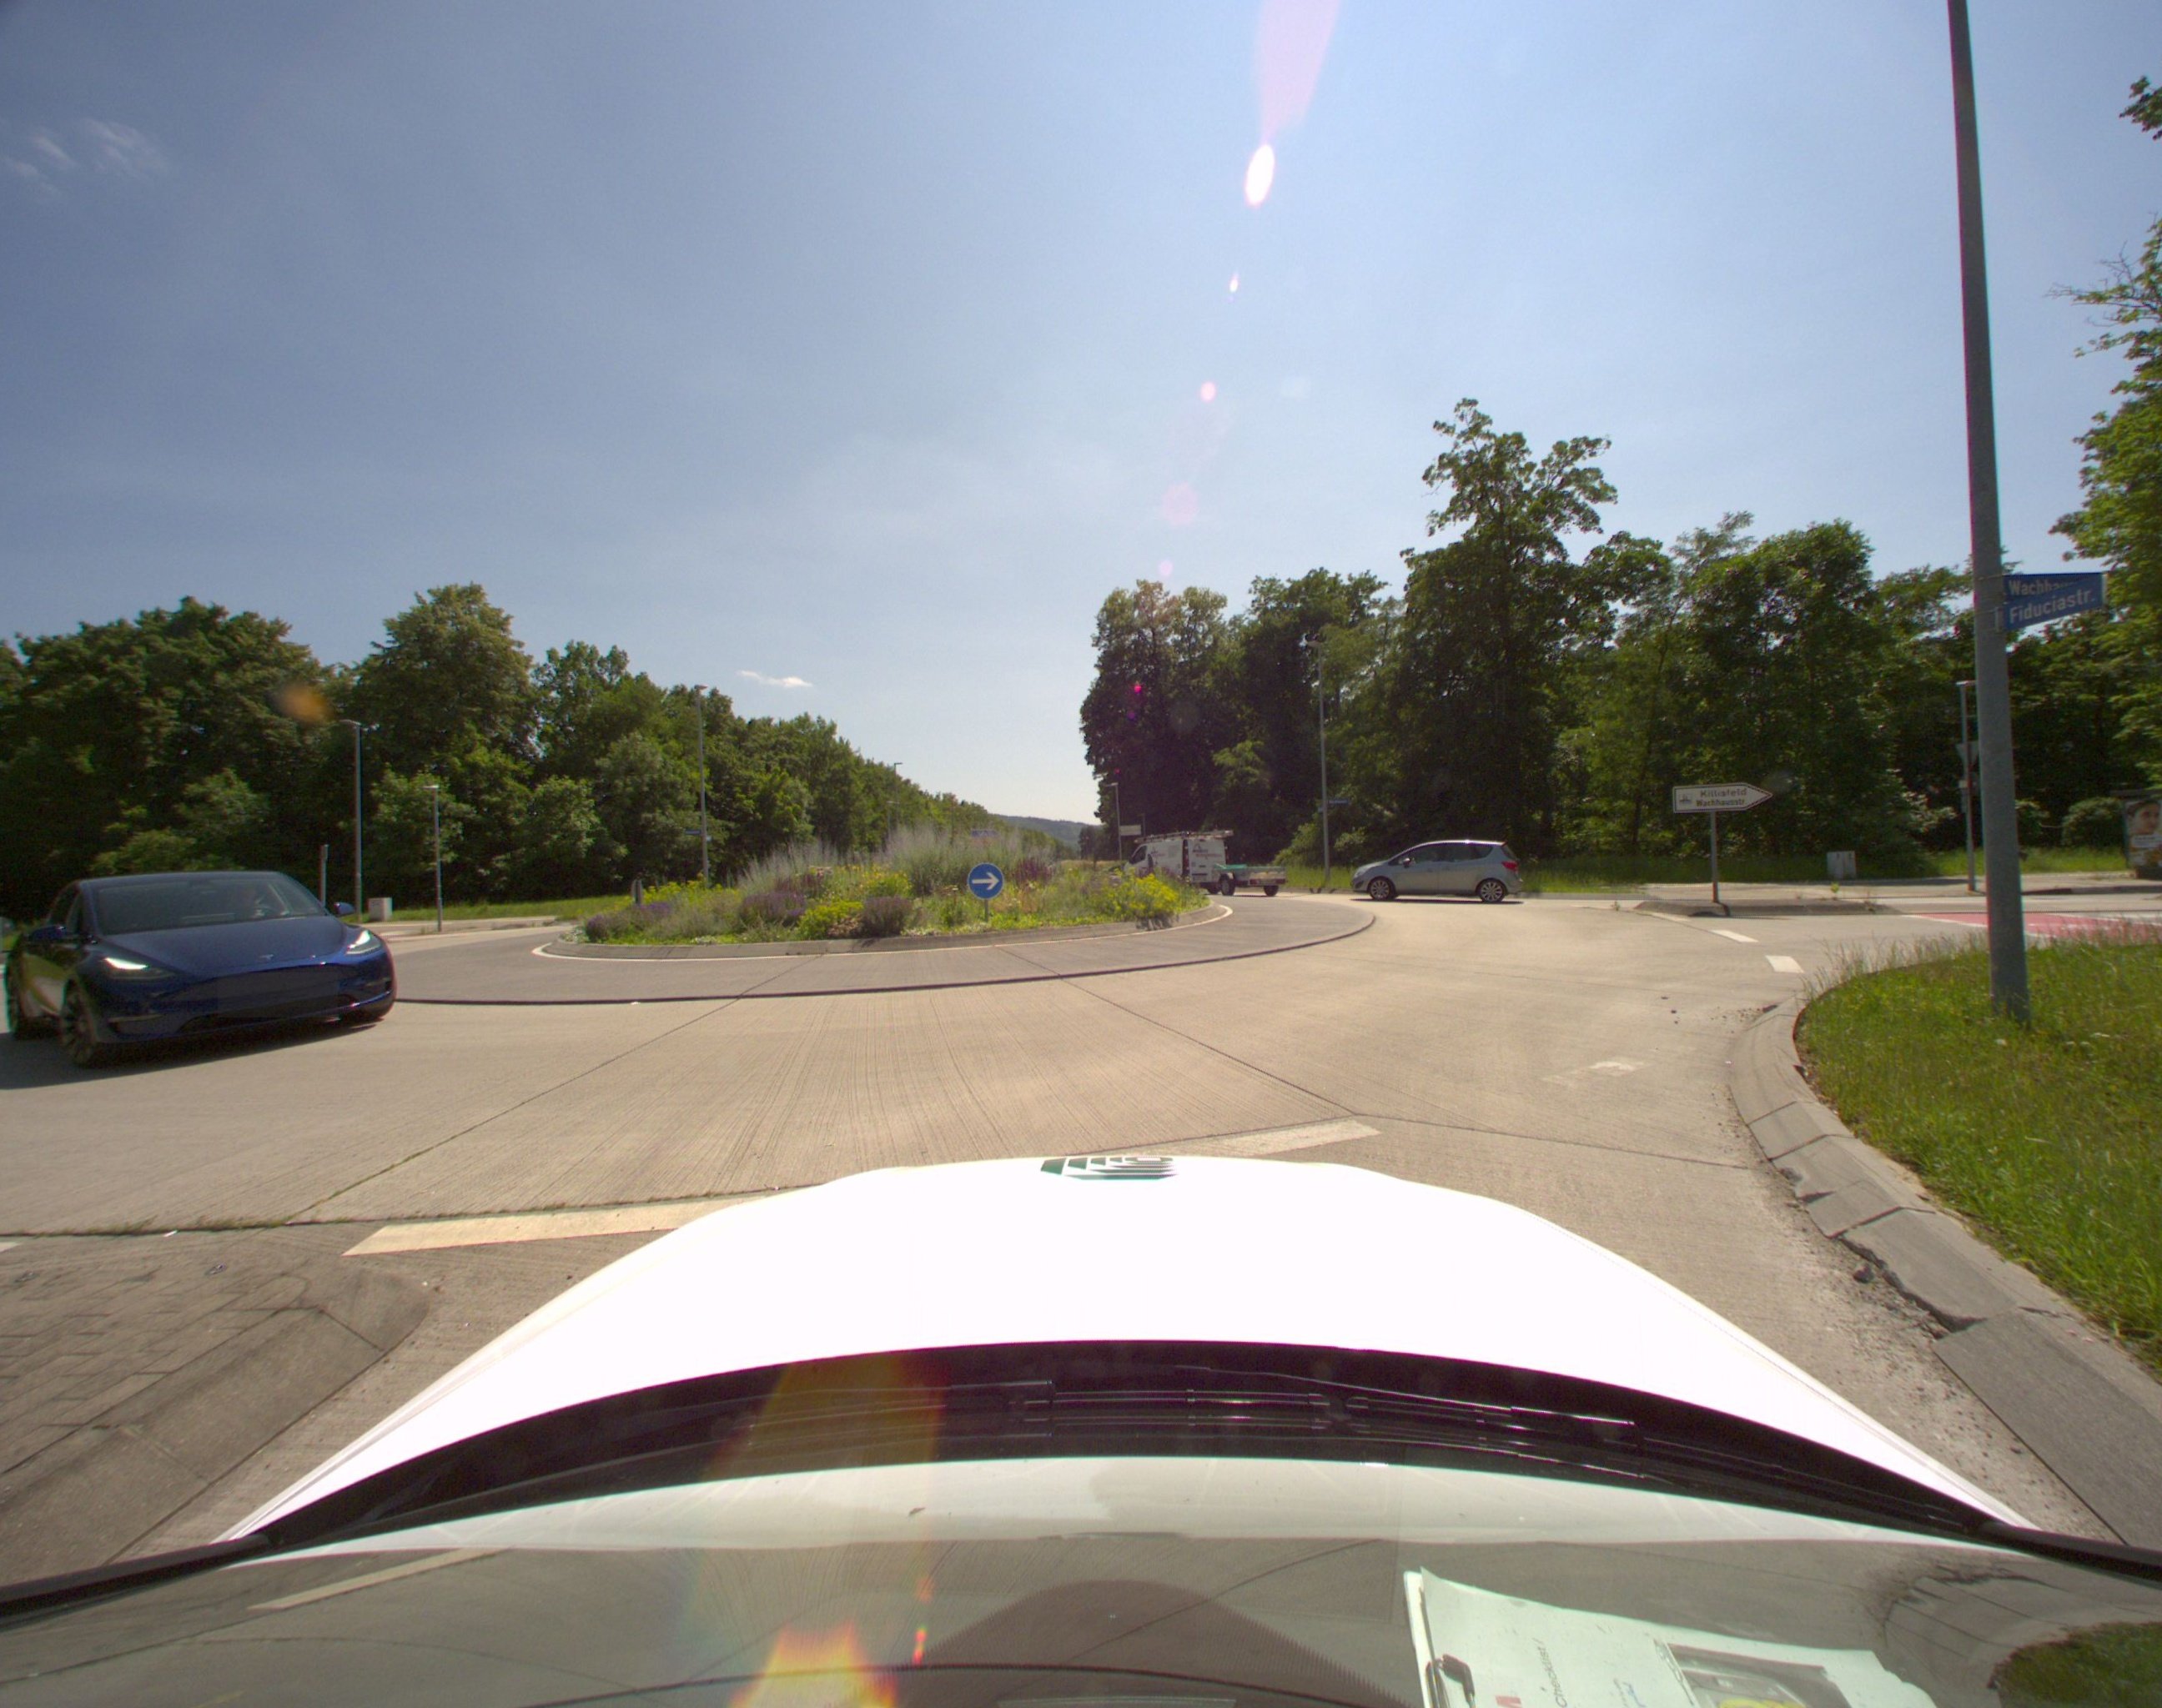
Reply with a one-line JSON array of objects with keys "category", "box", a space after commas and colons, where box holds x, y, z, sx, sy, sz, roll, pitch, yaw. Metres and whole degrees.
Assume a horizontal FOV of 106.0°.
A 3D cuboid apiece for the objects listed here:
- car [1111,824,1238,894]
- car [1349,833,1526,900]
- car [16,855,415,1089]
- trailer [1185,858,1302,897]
[{"category": "car", "box": [3.286, 0.205, 29.709, 2.178, 2.316, 4.936, -1, -1, -27]}, {"category": "car", "box": [9.365, 0.358, 21.456, 4.075, 1.607, 1.801, -2, -1, 29]}, {"category": "car", "box": [-8.635, 0.914, 8.000, 4.695, 1.640, 2.013, -2, 0, 35]}, {"category": "trailer", "box": [5.110, 0.732, 25.975, 2.132, 1.097, 3.327, -1, -1, -25]}]
